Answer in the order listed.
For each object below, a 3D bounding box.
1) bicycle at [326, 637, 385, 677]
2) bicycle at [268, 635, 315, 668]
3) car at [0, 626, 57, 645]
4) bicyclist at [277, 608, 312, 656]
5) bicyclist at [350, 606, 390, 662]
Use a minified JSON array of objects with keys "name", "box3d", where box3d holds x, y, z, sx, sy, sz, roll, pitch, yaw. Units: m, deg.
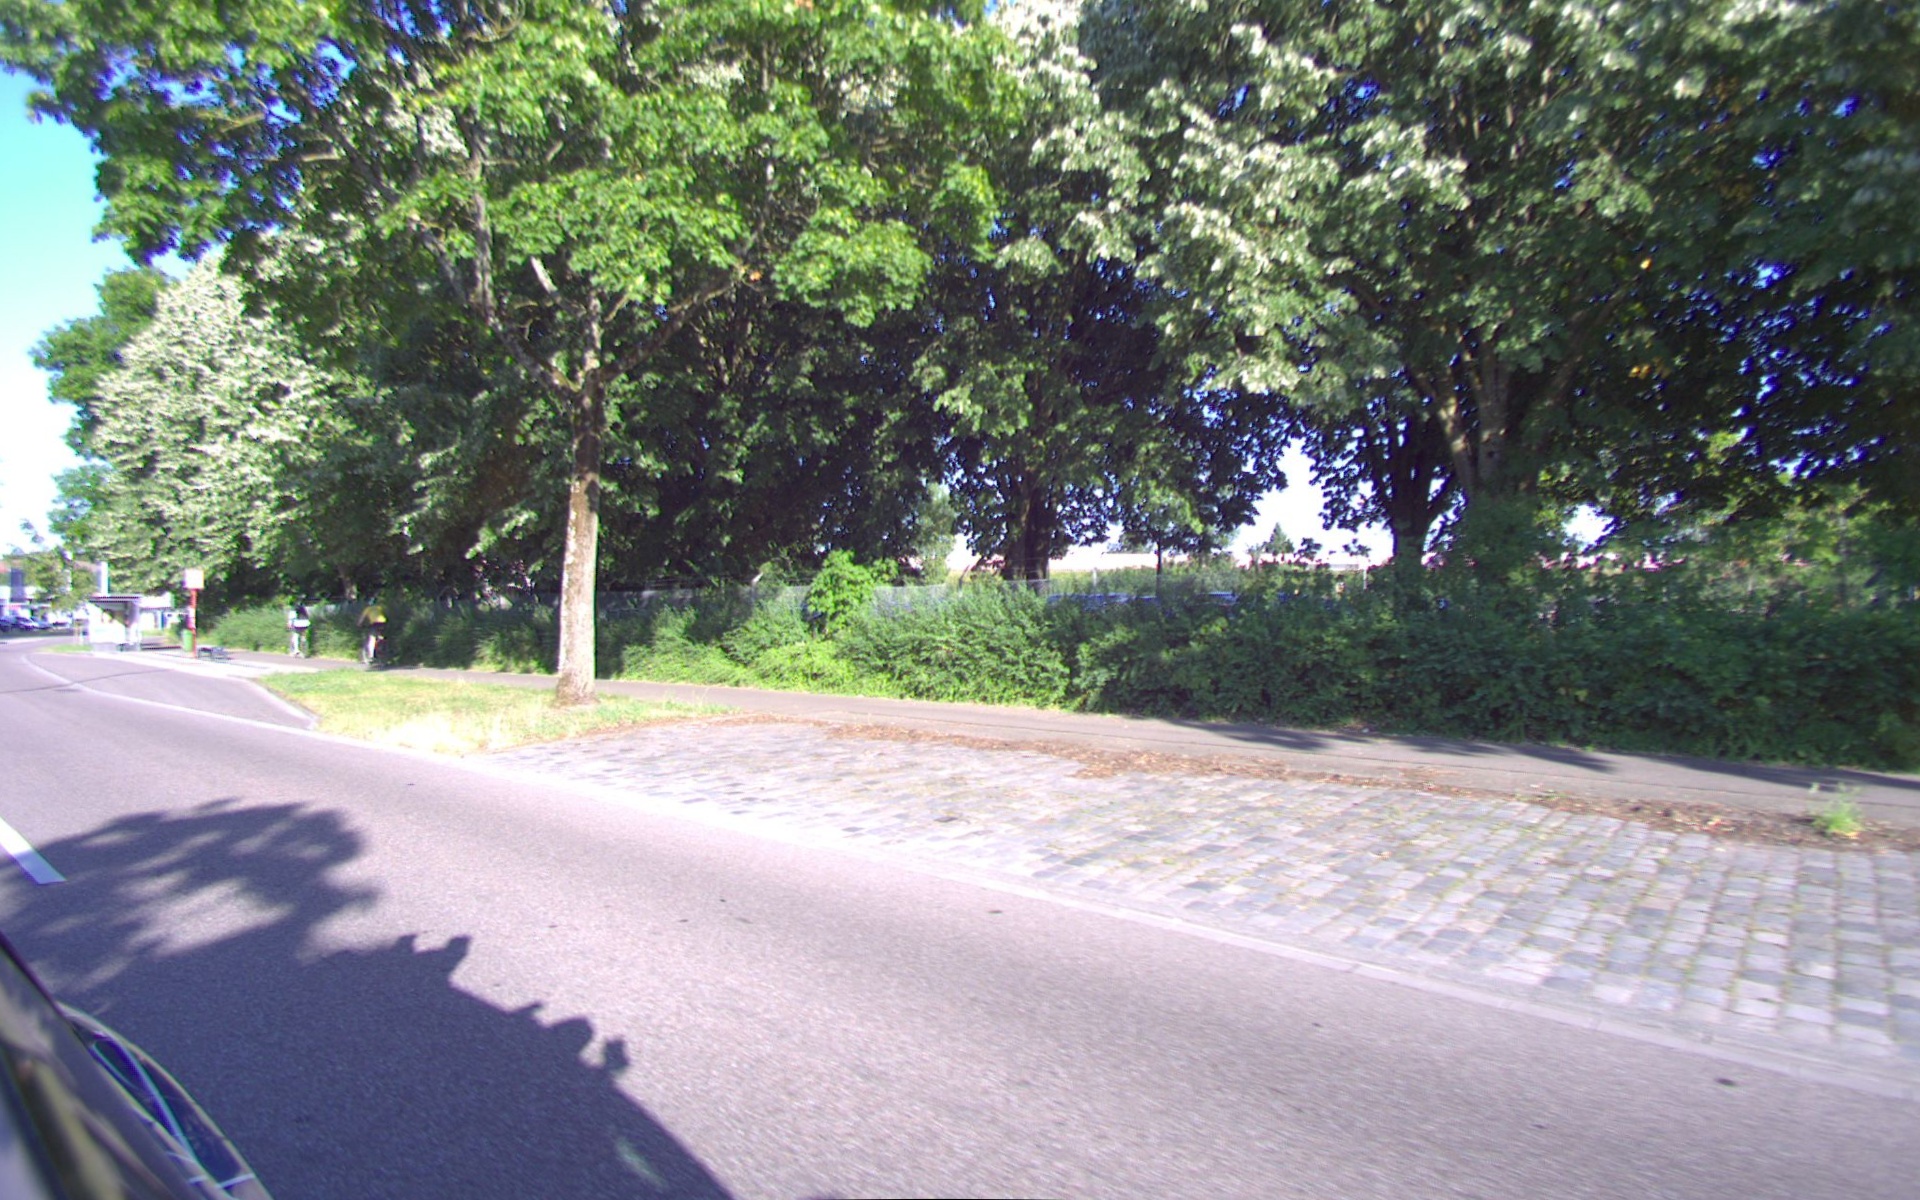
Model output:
[{"name":"bicycle","box3d":[-16.788,1.571,28.074,2.216,1.047,0.757,-1,-2,42]},{"name":"bicycle","box3d":[-22.266,1.684,33.716,2.216,1.047,0.757,-2,-2,42]},{"name":"car","box3d":[-100.664,3.833,108.595,5.205,2.029,2.410,0,-2,-9]},{"name":"bicyclist","box3d":[-21.945,1.049,33.380,0.951,1.541,0.723,-2,-2,42]},{"name":"bicyclist","box3d":[-16.589,0.958,28.454,0.951,1.541,0.723,-2,-2,42]}]
